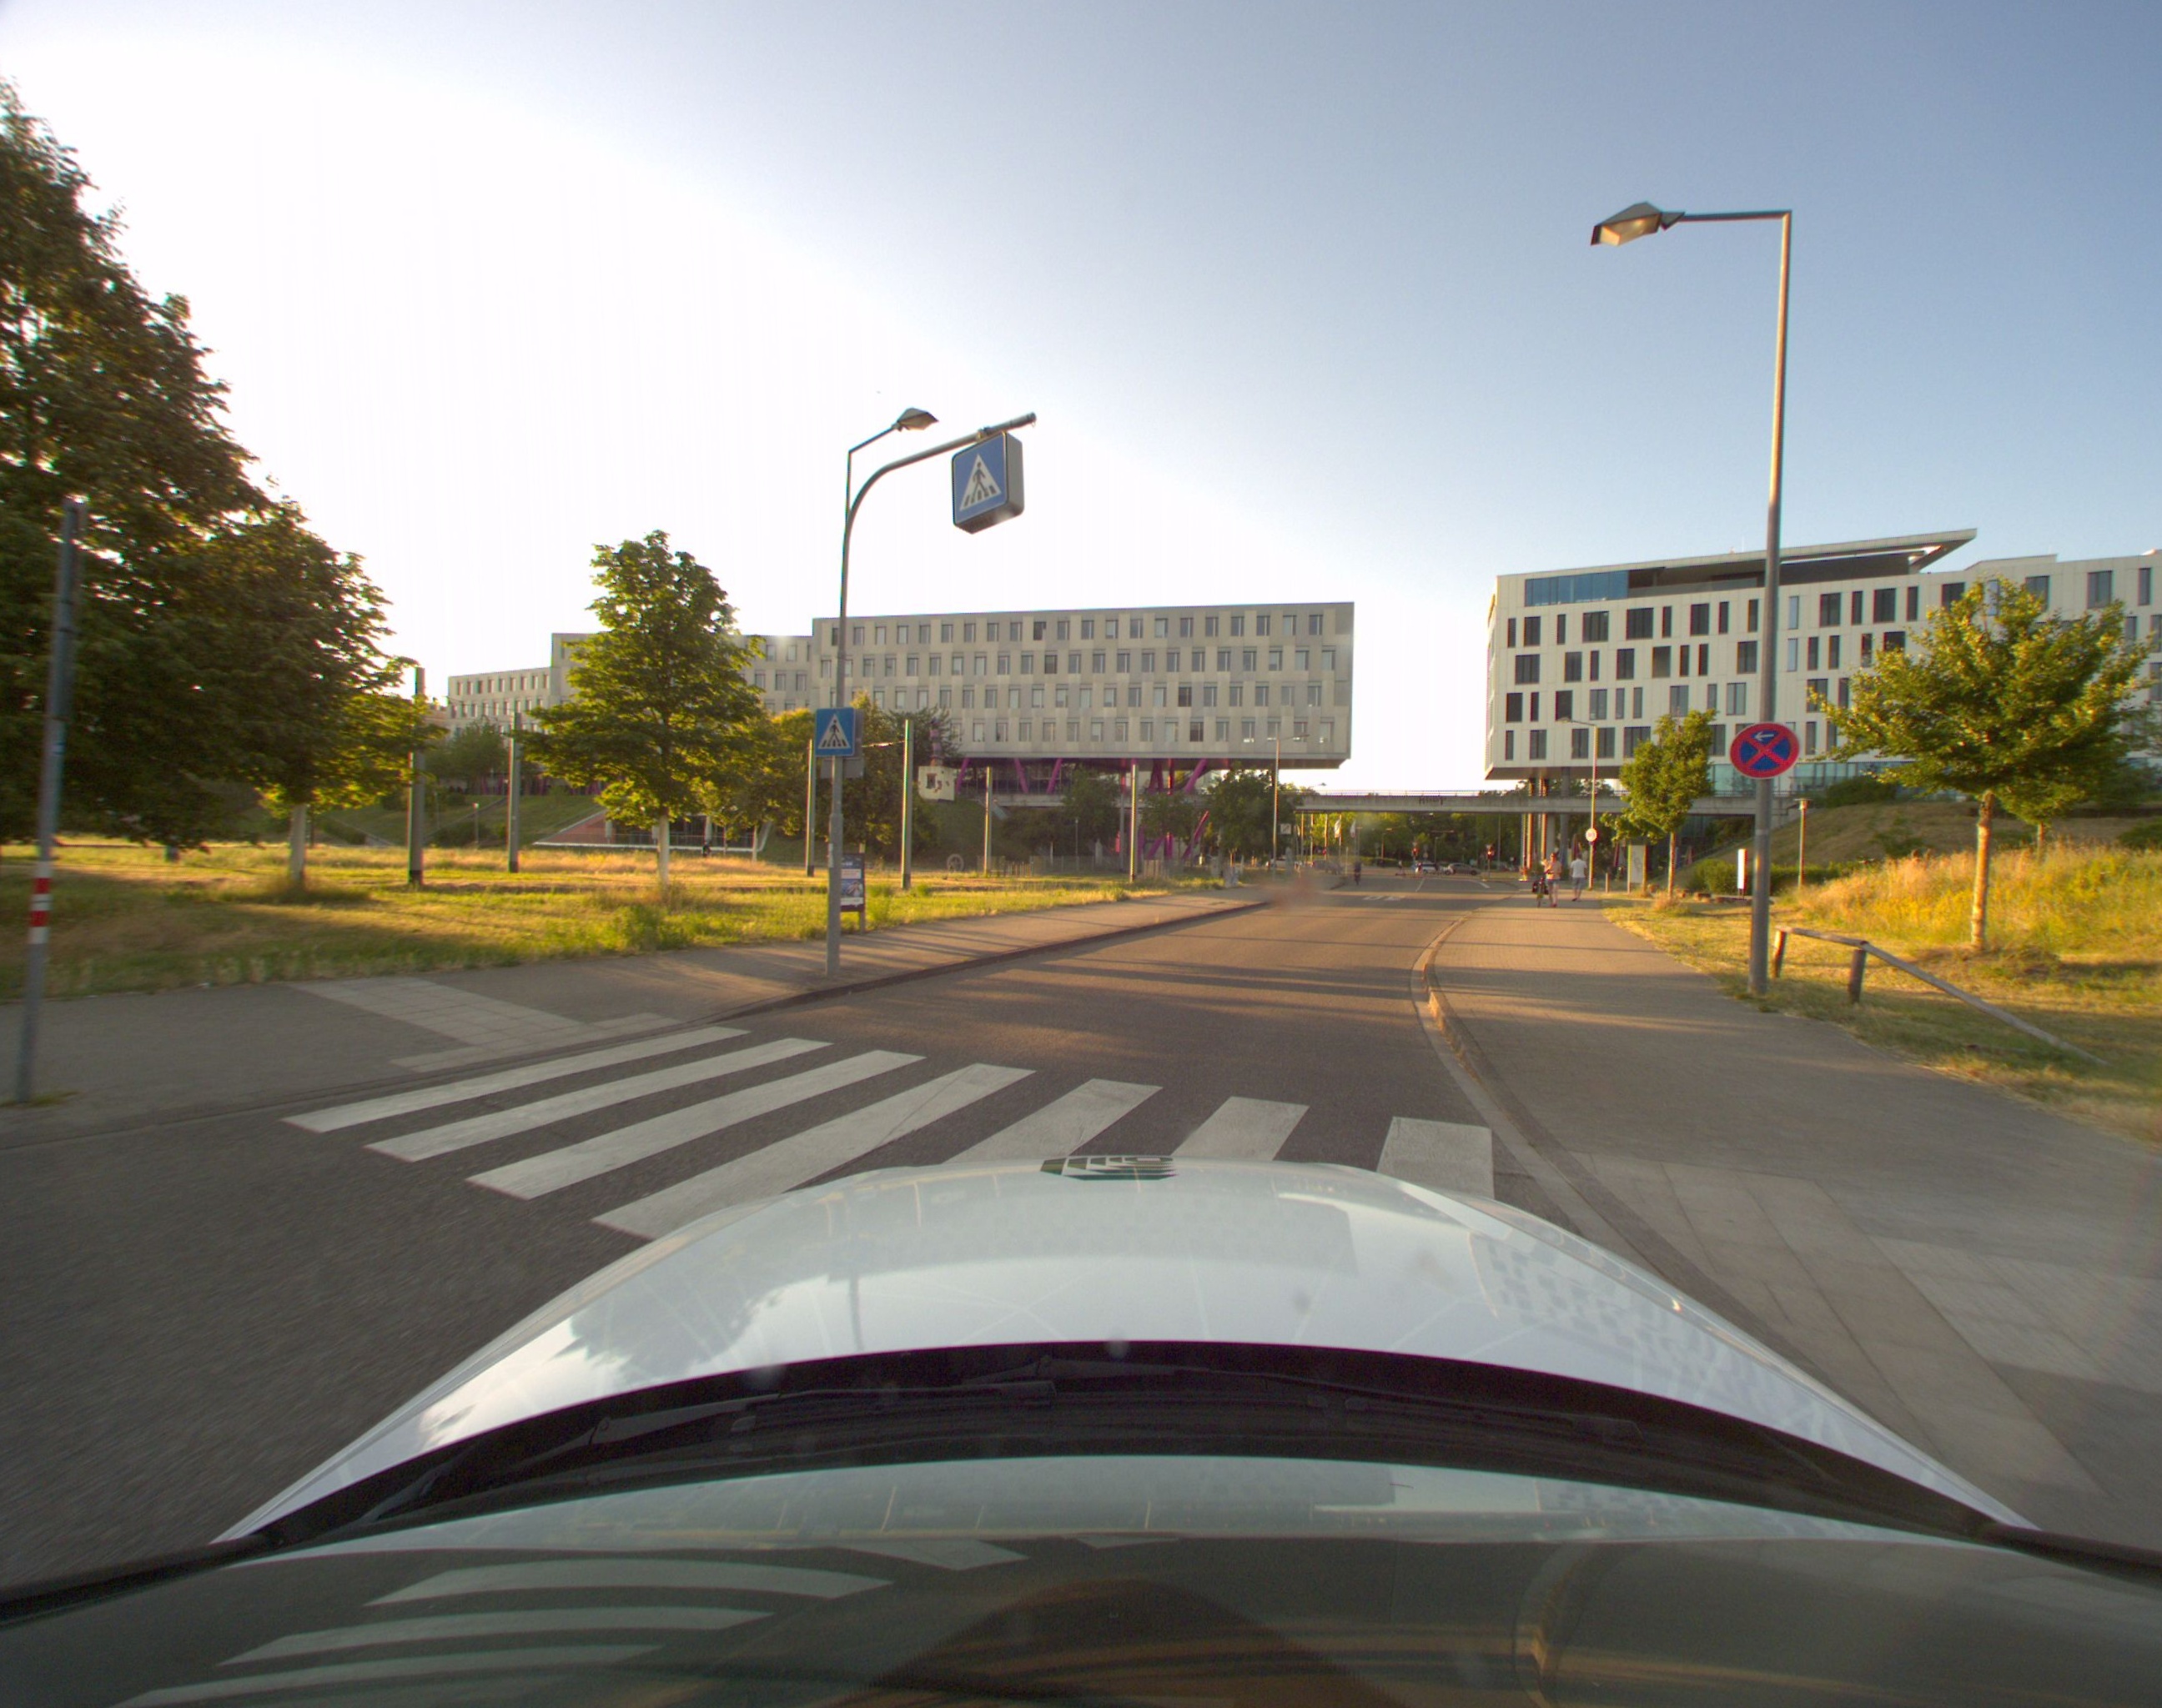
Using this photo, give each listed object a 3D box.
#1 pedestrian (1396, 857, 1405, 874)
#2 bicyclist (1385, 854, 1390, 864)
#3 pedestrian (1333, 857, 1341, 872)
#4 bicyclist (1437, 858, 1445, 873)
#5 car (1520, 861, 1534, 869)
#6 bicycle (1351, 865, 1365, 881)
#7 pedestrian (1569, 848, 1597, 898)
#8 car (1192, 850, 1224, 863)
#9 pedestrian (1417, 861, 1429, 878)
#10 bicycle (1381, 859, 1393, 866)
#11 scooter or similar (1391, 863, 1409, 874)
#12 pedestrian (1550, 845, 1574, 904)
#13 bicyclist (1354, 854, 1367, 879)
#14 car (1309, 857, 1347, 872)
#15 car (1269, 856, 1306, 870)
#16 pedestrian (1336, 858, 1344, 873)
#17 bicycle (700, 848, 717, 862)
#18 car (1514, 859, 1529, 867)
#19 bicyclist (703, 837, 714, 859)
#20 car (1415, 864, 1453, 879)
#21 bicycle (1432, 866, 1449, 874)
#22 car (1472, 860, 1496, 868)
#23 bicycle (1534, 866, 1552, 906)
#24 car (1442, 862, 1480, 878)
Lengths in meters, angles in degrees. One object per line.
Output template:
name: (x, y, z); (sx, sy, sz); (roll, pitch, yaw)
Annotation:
pedestrian: (37.098, 1.336, 94.586); (0.902, 1.990, 0.775); (1, 1, 16)
bicyclist: (53.731, 0.896, 142.747); (0.754, 1.723, 0.552); (1, 1, -1)
pedestrian: (29.782, 1.206, 94.697); (0.679, 1.624, 0.716); (2, 1, 41)
bicyclist: (40.971, 1.295, 92.656); (0.760, 1.704, 0.515); (1, 1, 17)
car: (91.431, 2.203, 166.938); (3.420, 1.606, 1.485); (0, 2, -40)
bicycle: (18.712, 1.276, 55.003); (0.533, 1.043, 1.937); (1, 1, 29)
pedestrian: (18.535, 0.678, 30.055); (0.823, 1.766, 0.823); (2, 1, 31)
car: (19.121, 0.309, 122.821); (4.428, 1.816, 1.956); (1, 1, 23)
pedestrian: (38.221, 1.773, 91.011); (1.047, 1.833, 0.898); (1, 1, 11)
bicycle: (53.658, 1.431, 142.758); (1.957, 1.128, 0.560); (1, 1, -1)
scooter or similar: (37.065, 1.708, 94.623); (1.846, 1.174, 0.767); (1, 1, 16)
pedestrian: (15.143, 0.622, 25.616); (0.589, 1.801, 0.823); (2, 1, 31)
bicyclist: (18.800, 0.832, 54.815); (0.609, 1.662, 1.043); (1, 1, 29)
car: (32.753, 1.382, 108.076); (4.679, 1.828, 1.900); (1, 1, 15)
car: (28.627, 1.243, 112.795); (4.644, 1.828, 1.845); (2, 1, 25)
pedestrian: (30.314, 1.361, 95.277); (0.693, 1.664, 0.716); (2, 1, 41)
bicycle: (-26.434, 0.066, 57.765); (1.221, 0.900, 0.433); (1, 1, 25)
car: (88.821, 1.767, 164.107); (3.420, 1.606, 1.485); (0, 2, -40)
bicyclist: (-26.414, -0.430, 57.750); (0.507, 1.494, 0.427); (1, 1, 26)
car: (45.046, 2.218, 103.870); (4.375, 1.724, 1.845); (1, 1, 22)
bicycle: (40.932, 1.818, 92.666); (1.680, 0.948, 0.514); (1, 1, 16)
car: (93.172, 2.297, 188.225); (4.640, 1.869, 2.025); (2, 1, 31)
bicycle: (14.684, 1.002, 25.849); (0.445, 1.168, 1.953); (1, 1, 30)
car: (49.301, 2.082, 105.592); (4.374, 1.799, 1.845); (2, 1, 25)
